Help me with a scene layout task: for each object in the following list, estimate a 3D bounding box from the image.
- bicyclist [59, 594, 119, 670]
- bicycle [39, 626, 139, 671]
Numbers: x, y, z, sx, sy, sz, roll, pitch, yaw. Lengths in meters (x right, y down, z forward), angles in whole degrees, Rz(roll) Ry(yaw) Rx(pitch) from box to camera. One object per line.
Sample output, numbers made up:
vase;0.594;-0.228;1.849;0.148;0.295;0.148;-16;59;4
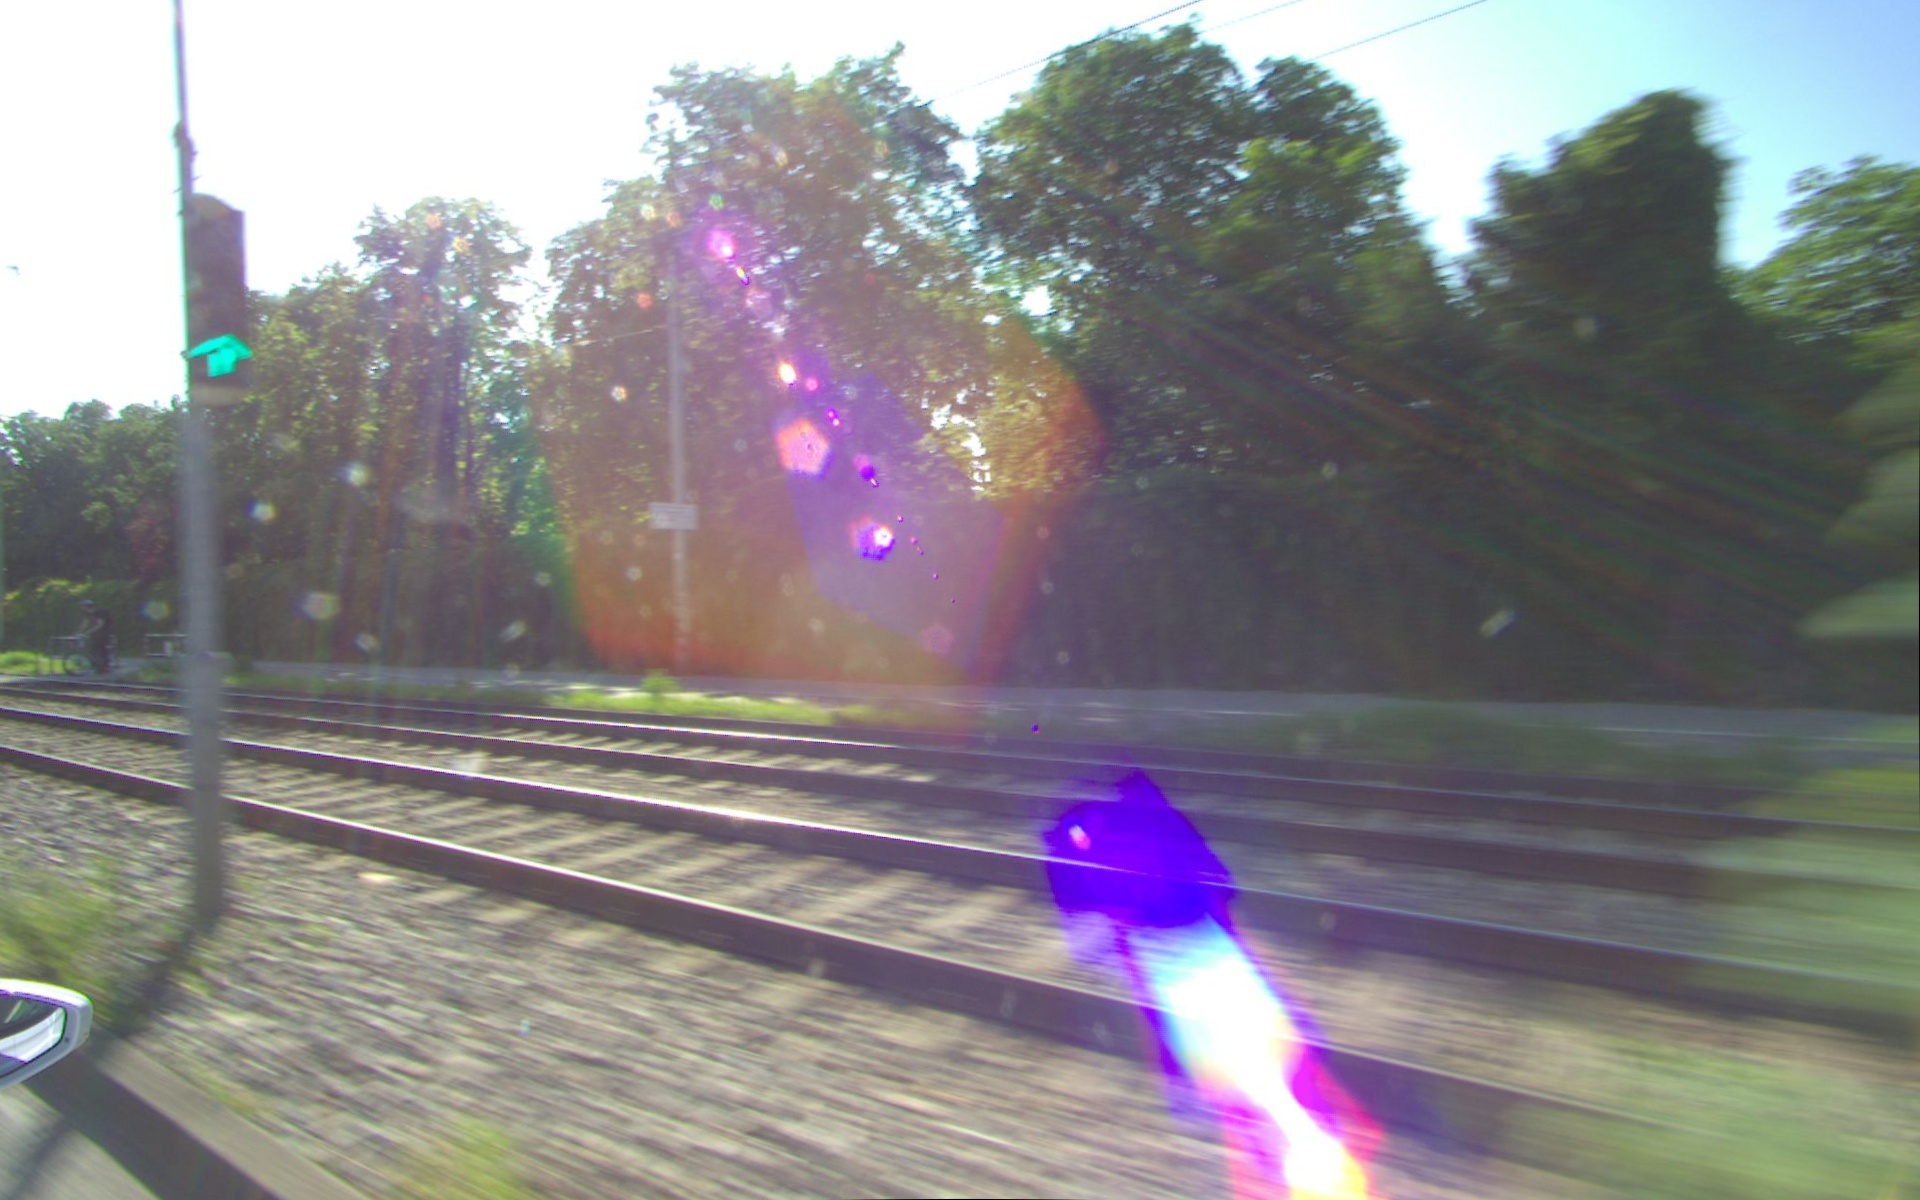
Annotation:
bicyclist;-23.919;0.863;27.518;1.022;2.020;0.942;-1;1;-31
bicycle;-23.900;1.311;27.534;1.900;1.130;0.942;-1;1;-31
